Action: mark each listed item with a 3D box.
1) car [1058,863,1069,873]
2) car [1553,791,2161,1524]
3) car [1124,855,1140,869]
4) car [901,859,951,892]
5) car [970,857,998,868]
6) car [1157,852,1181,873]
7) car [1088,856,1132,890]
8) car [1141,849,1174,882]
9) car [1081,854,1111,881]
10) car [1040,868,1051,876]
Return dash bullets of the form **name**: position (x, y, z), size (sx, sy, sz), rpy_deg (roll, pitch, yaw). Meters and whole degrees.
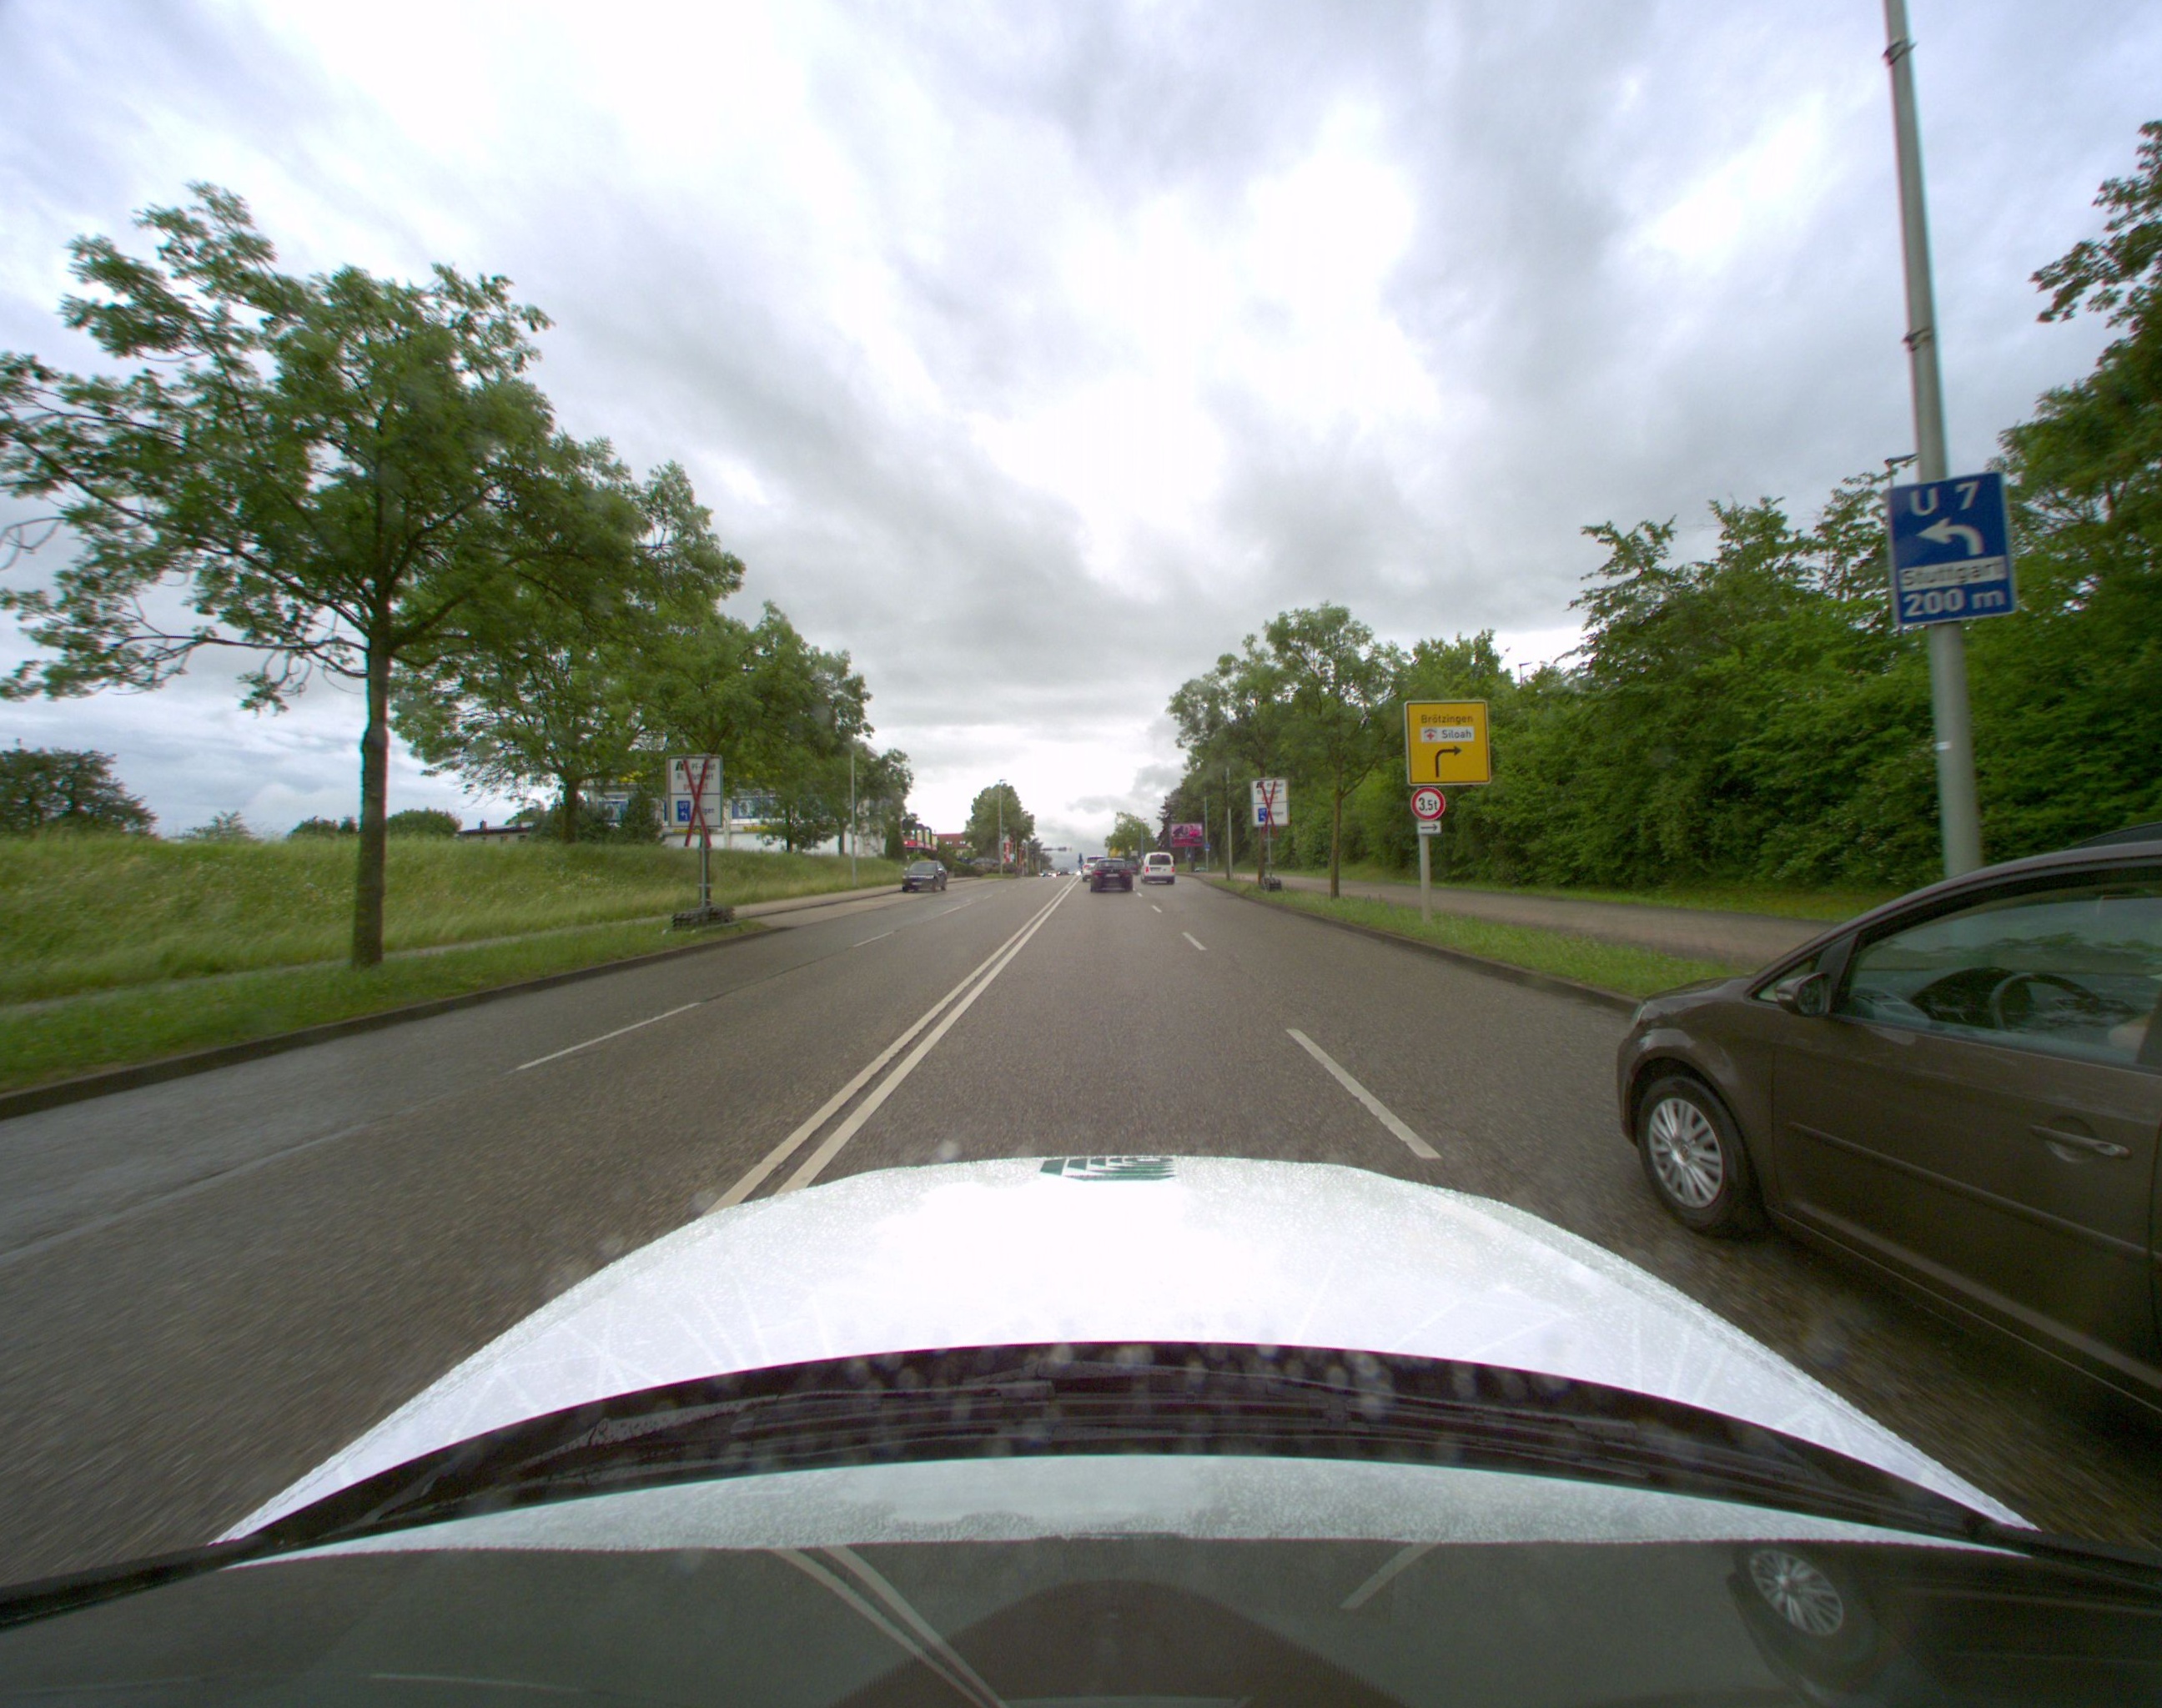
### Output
- **car**: position (-2.999, 2.490, 141.296), size (1.790, 1.584, 4.197), rpy_deg (-3, 0, 0)
- **car**: position (3.214, 0.655, 2.100), size (1.707, 1.596, 4.132), rpy_deg (-1, 0, 2)
- **car**: position (5.398, 0.869, 87.115), size (1.594, 1.372, 3.682), rpy_deg (-2, 0, 2)
- **car**: position (-8.344, 1.109, 44.184), size (1.720, 1.668, 4.489), rpy_deg (0, 0, 1)
- **car**: position (-13.765, 1.250, 115.732), size (3.822, 1.482, 1.738), rpy_deg (-1, -1, -7)
- **car**: position (7.680, 0.740, 71.027), size (1.807, 1.708, 3.948), rpy_deg (-2, 0, 3)
- **car**: position (1.324, 0.817, 36.359), size (1.847, 1.419, 3.960), rpy_deg (0, 0, 3)
- **car**: position (4.434, 0.647, 47.409), size (1.734, 1.869, 3.948), rpy_deg (0, 0, 3)
- **car**: position (1.003, 0.845, 52.813), size (1.720, 1.711, 3.386), rpy_deg (0, 0, 4)
- **car**: position (-6.679, 3.437, 154.437), size (1.786, 1.401, 4.301), rpy_deg (-3, -1, 1)
